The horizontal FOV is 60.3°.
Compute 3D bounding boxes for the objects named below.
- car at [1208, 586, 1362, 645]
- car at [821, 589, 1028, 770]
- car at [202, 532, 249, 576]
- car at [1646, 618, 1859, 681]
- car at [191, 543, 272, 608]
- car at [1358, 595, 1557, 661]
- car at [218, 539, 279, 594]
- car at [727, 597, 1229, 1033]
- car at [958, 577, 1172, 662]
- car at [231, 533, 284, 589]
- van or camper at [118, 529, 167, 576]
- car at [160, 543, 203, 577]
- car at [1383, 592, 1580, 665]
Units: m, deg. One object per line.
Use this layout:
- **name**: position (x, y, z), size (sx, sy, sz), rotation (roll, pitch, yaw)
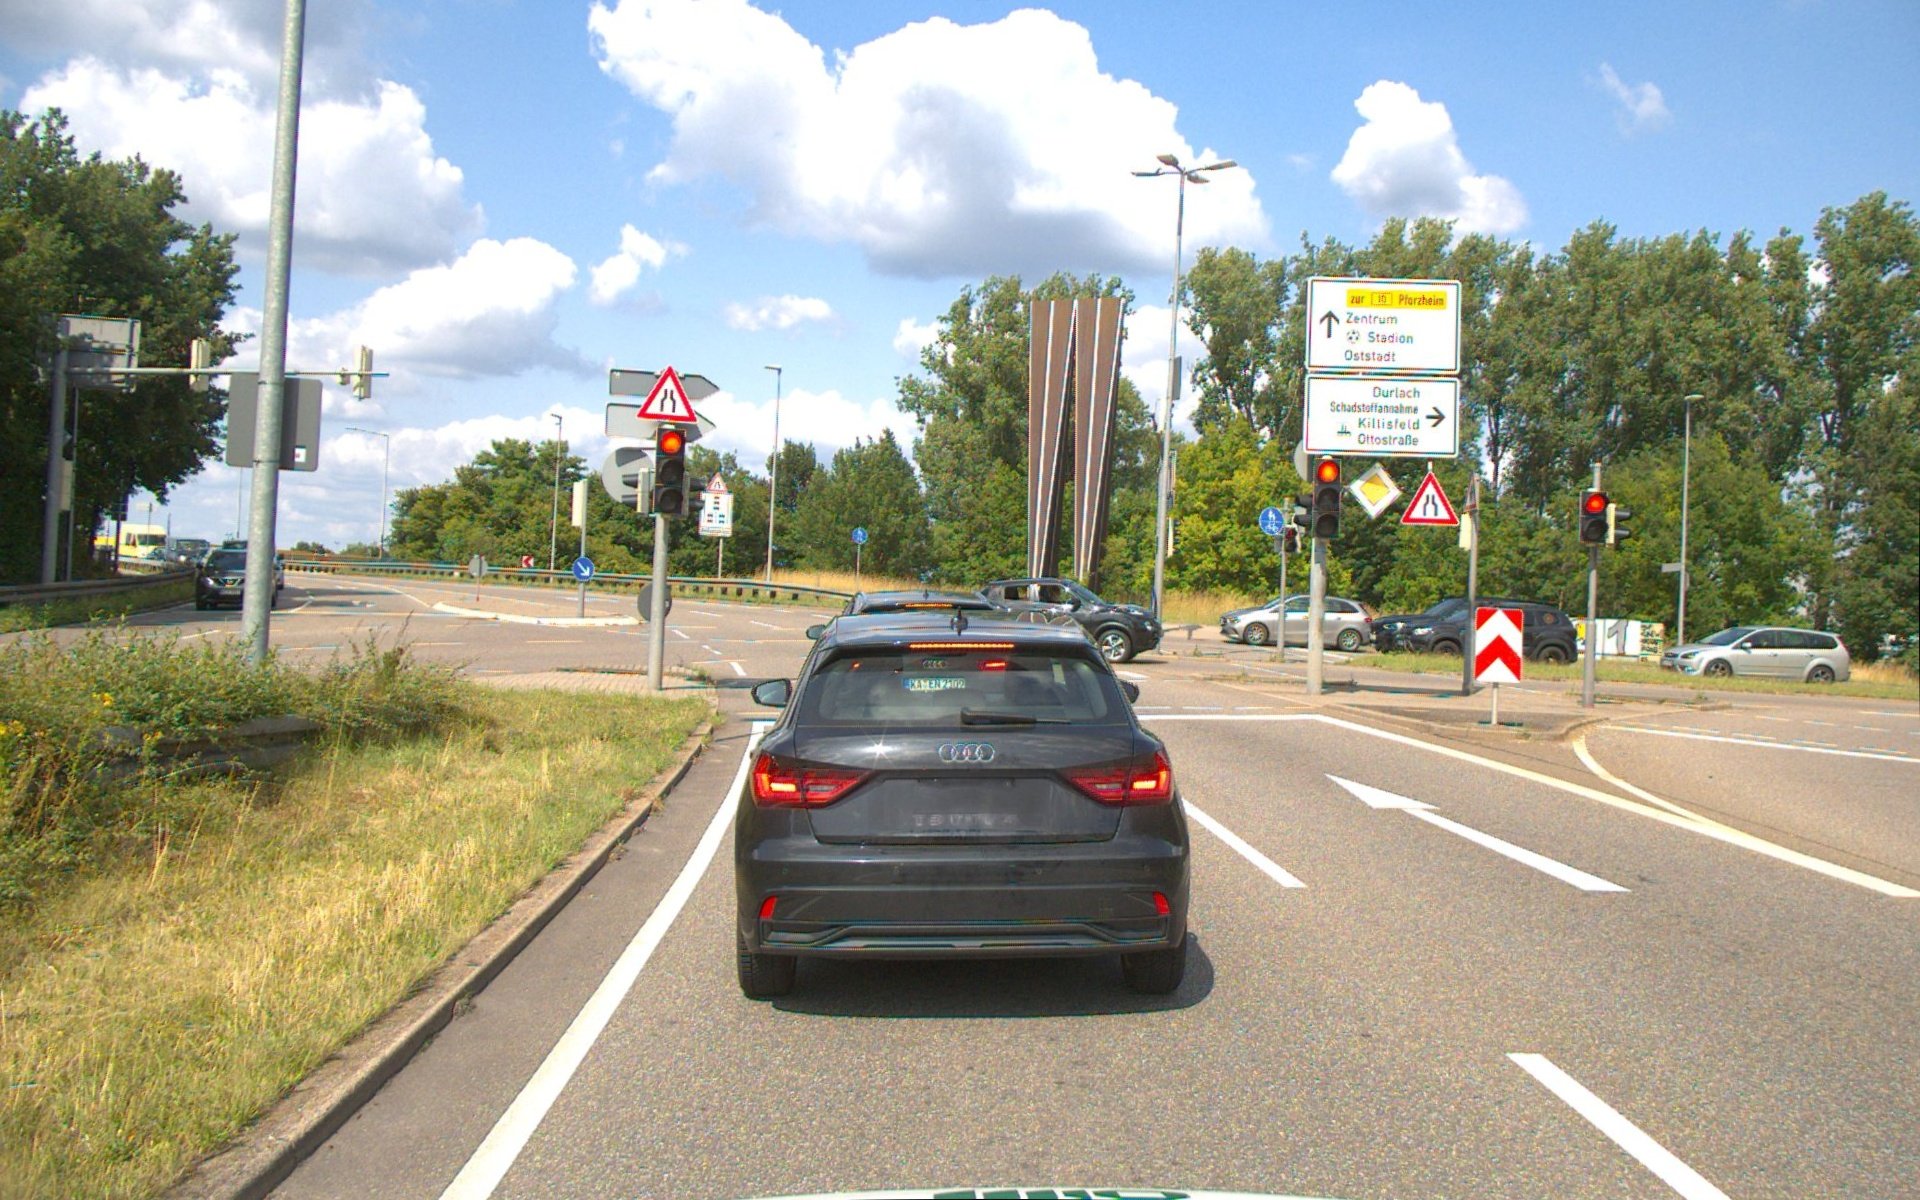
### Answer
- **car**: position (9.324, 0.438, 47.705), size (4.022, 1.522, 2.000), rotation (2, 0, 0)
- **car**: position (-0.444, 0.626, 15.361), size (1.692, 1.448, 3.841), rotation (0, 1, -5)
- **car**: position (-35.590, -2.201, 80.104), size (1.821, 2.013, 4.289), rotation (2, 0, -27)
- **car**: position (19.316, 1.191, 40.403), size (4.384, 1.343, 1.735), rotation (2, 0, -4)
- **car**: position (-19.895, -0.619, 45.289), size (1.813, 1.646, 3.974), rotation (2, -1, -21)
- **car**: position (13.177, 0.730, 43.966), size (4.750, 1.572, 1.736), rotation (2, 0, -2)
- **car**: position (-25.386, -1.208, 59.131), size (1.817, 1.833, 4.299), rotation (2, 0, -22)
- **car**: position (0.032, 0.719, 7.571), size (1.691, 1.429, 3.999), rotation (0, 1, -1)
- **car**: position (2.092, 0.365, 32.368), size (3.873, 1.443, 1.955), rotation (2, 0, 13)
- **car**: position (-28.233, -1.563, 66.431), size (1.819, 2.137, 4.293), rotation (2, 0, -24)
- **van or camper**: position (-50.392, -2.892, 101.869), size (1.974, 2.730, 6.788), rotation (2, 0, -32)
- **car**: position (-42.091, -2.176, 89.398), size (1.823, 1.735, 4.286), rotation (2, 0, -29)
- **car**: position (12.595, 0.675, 40.104), size (4.182, 1.572, 1.736), rotation (2, 0, -2)
